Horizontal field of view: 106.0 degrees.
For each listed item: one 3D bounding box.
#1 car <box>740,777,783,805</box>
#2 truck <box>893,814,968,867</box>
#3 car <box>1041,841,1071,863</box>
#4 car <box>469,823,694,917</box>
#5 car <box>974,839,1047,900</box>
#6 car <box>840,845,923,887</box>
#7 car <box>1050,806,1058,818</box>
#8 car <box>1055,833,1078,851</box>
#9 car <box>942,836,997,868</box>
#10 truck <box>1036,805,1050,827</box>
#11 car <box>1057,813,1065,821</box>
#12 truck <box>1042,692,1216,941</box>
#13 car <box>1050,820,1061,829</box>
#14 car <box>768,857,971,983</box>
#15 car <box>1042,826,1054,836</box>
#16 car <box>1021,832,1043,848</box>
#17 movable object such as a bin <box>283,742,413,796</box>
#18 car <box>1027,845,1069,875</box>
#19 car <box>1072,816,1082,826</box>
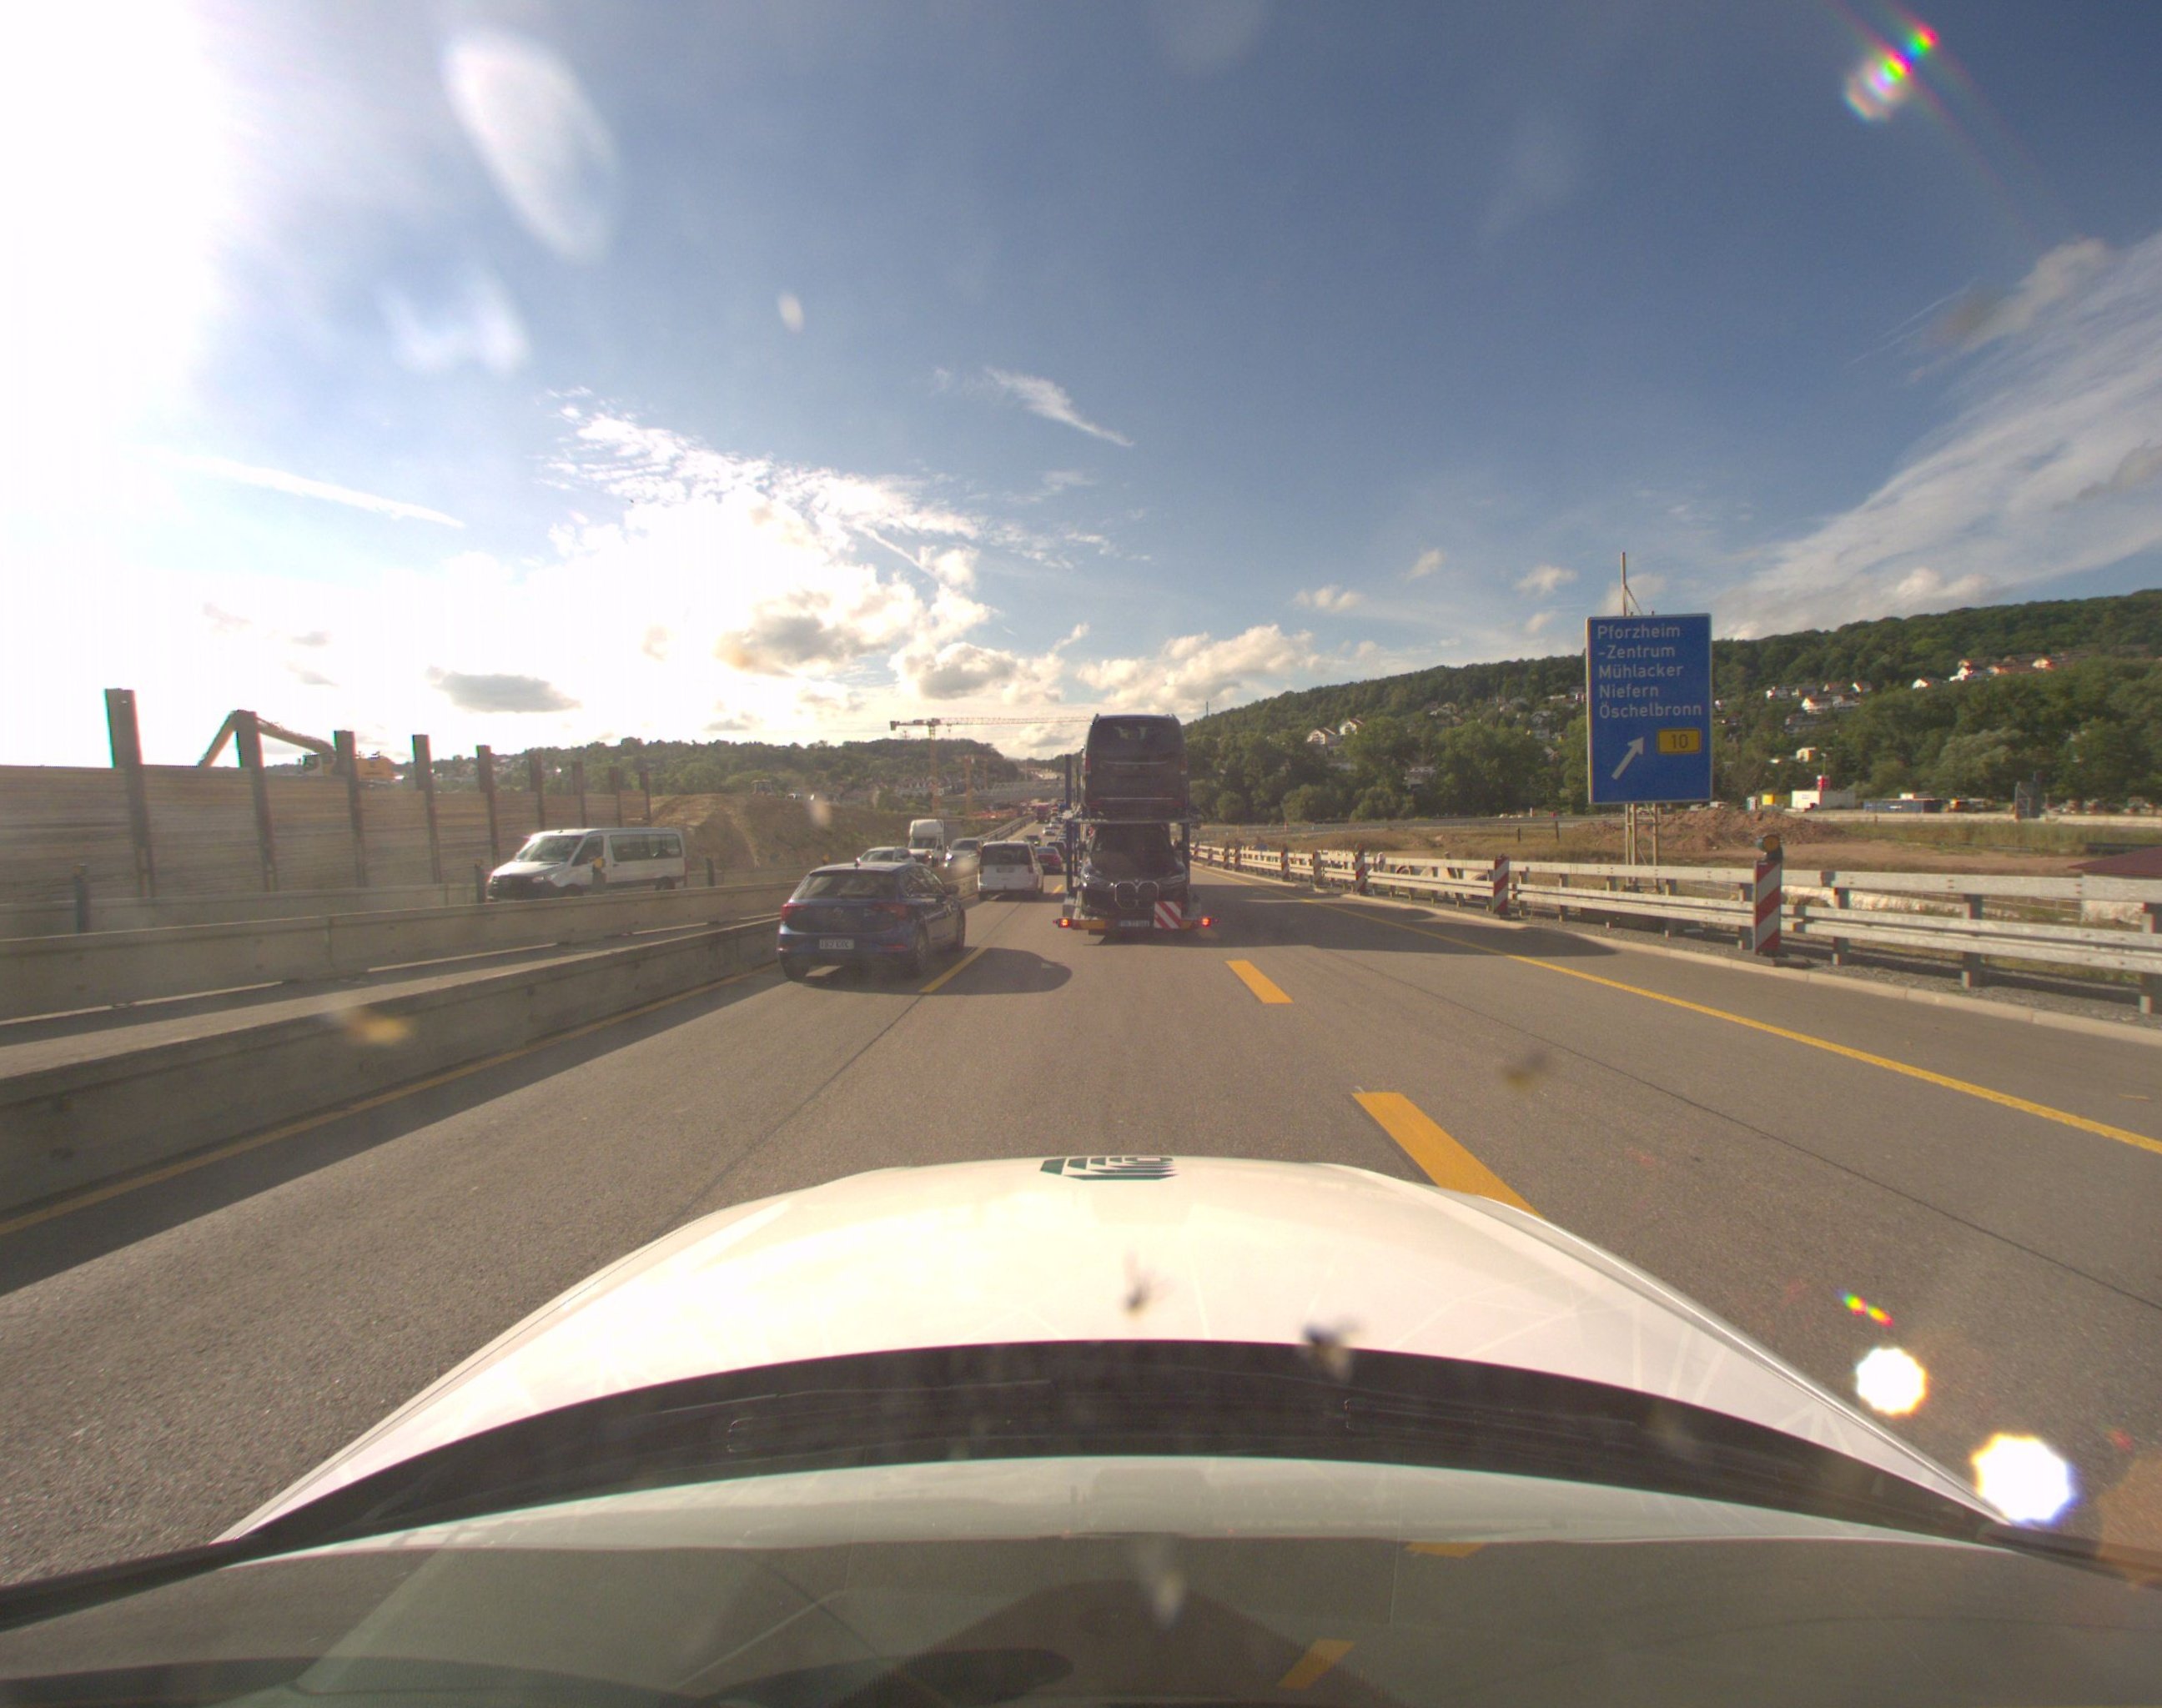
[{"bbox_3d":[-32.365,-6.356,82.726,1.987,2.140,5.321,-6,-1,0],"label":"car"},{"bbox_3d":[-10.002,-0.829,55.061,2.685,3.311,7.554,-1,-1,8],"label":"truck"},{"bbox_3d":[-1.814,-0.142,60.893,1.986,1.552,4.001,-1,0,2],"label":"car"},{"bbox_3d":[-14.168,0.433,23.713,2.244,2.402,5.883,-1,0,10],"label":"car"},{"bbox_3d":[-2.182,0.469,26.263,1.816,1.792,4.002,-1,0,2],"label":"car"},{"bbox_3d":[-8.647,0.486,35.679,2.114,1.674,4.281,-1,1,7],"label":"car"},{"bbox_3d":[-7.526,-11.725,227.568,1.986,2.879,6.067,-1,0,2],"label":"car"},{"bbox_3d":[-1.333,-1.128,78.374,1.986,1.665,4.003,-1,1,2],"label":"car"},{"bbox_3d":[-6.637,-0.159,49.081,2.115,1.765,5.039,-1,1,5],"label":"car"},{"bbox_3d":[-8.186,-8.063,173.871,2.907,4.386,6.281,0,1,-2],"label":"truck"},{"bbox_3d":[-4.623,-8.686,191.555,1.840,1.648,4.501,-1,1,-2],"label":"car"},{"bbox_3d":[1.190,-0.687,22.437,2.742,3.954,18.902,0,1,3],"label":"truck"},{"bbox_3d":[-4.723,-5.423,150.148,1.747,1.439,3.808,-1,1,3],"label":"car"},{"bbox_3d":[-2.692,0.761,11.344,1.716,1.422,4.000,-1,0,1],"label":"car"},{"bbox_3d":[-5.123,-3.603,128.382,1.848,1.439,4.555,-1,1,-2],"label":"car"},{"bbox_3d":[-5.045,-1.440,84.129,1.845,1.635,4.751,-1,1,2],"label":"car"},{"bbox_3d":[-53.661,-6.164,59.742,5.707,3.270,4.526,-1,-1,12],"label":"movable object such as a bin"},{"bbox_3d":[-1.733,0.321,44.328,1.986,1.556,4.402,-1,0,1],"label":"car"},{"bbox_3d":[-0.796,-6.110,150.874,1.839,1.648,4.502,-1,1,-2],"label":"car"}]
